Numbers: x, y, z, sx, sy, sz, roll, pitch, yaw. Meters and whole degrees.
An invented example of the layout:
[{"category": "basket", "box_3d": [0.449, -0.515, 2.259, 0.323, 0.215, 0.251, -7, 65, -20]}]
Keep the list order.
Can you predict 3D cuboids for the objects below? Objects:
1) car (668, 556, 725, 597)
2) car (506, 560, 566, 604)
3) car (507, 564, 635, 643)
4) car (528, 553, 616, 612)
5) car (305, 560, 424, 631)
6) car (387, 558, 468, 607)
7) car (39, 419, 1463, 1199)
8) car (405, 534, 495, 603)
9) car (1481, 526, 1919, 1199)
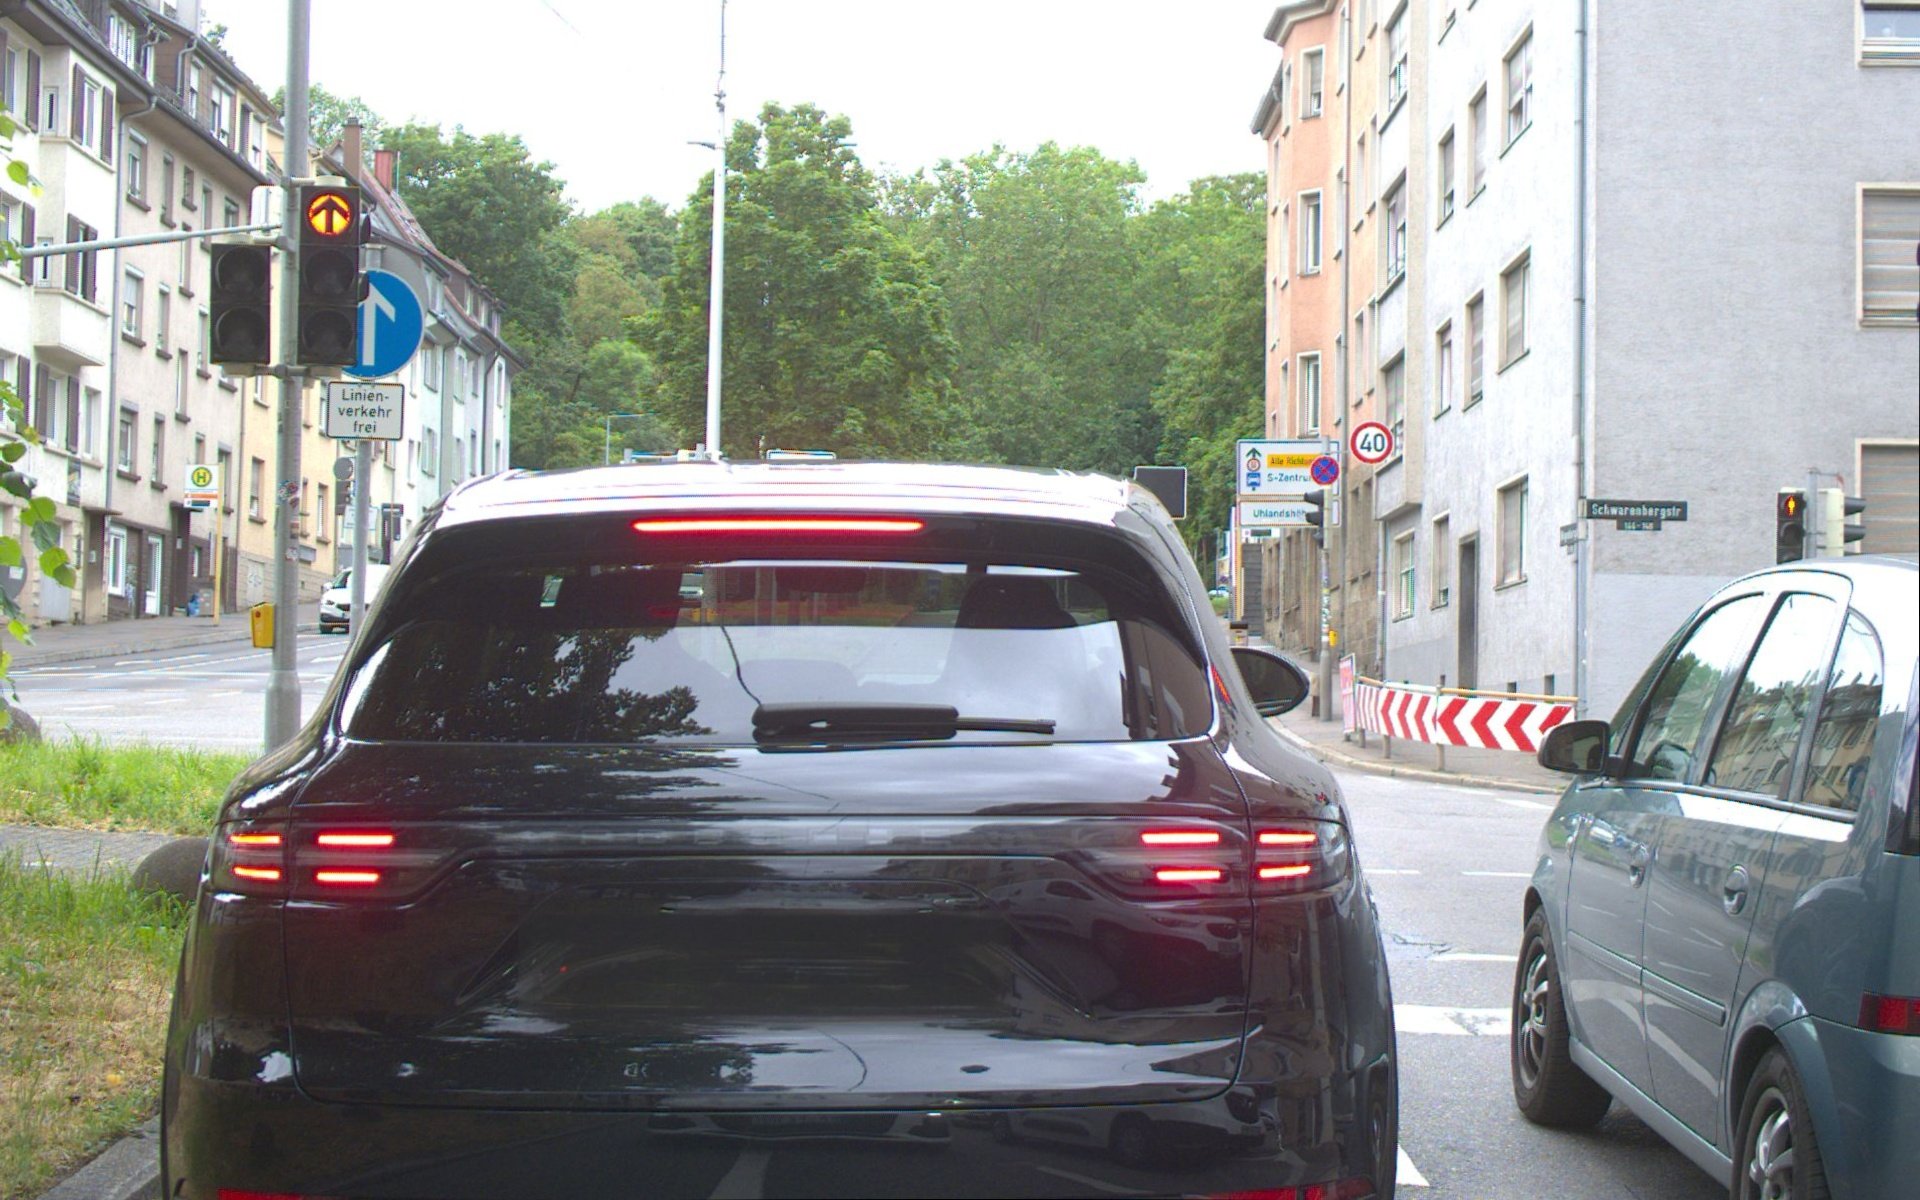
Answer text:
[{"category": "car", "box_3d": [-9.856, -0.858, 128.678, 1.619, 1.475, 3.823, 1, -1, 3]}, {"category": "car", "box_3d": [-15.395, -0.665, 124.971, 1.689, 1.533, 3.814, 1, 1, 0]}, {"category": "car", "box_3d": [-7.092, 0.038, 62.999, 1.862, 1.383, 4.094, 1, 1, 0]}, {"category": "car", "box_3d": [-10.958, -0.517, 97.384, 1.974, 1.605, 4.558, 1, 1, 0]}, {"category": "car", "box_3d": [-12.979, -0.117, 75.154, 1.844, 1.481, 3.898, 1, 1, 1]}, {"category": "car", "box_3d": [-15.352, -0.510, 99.176, 1.739, 1.382, 3.814, 1, 1, 0]}, {"category": "car", "box_3d": [-0.310, 0.567, 6.729, 1.955, 1.669, 4.000, 0, 1, -1]}, {"category": "car", "box_3d": [-15.506, -0.968, 104.700, 2.016, 2.038, 4.667, 1, 1, 0]}, {"category": "car", "box_3d": [2.355, 0.699, 7.877, 1.628, 1.592, 3.669, 4, 1, -1]}]
